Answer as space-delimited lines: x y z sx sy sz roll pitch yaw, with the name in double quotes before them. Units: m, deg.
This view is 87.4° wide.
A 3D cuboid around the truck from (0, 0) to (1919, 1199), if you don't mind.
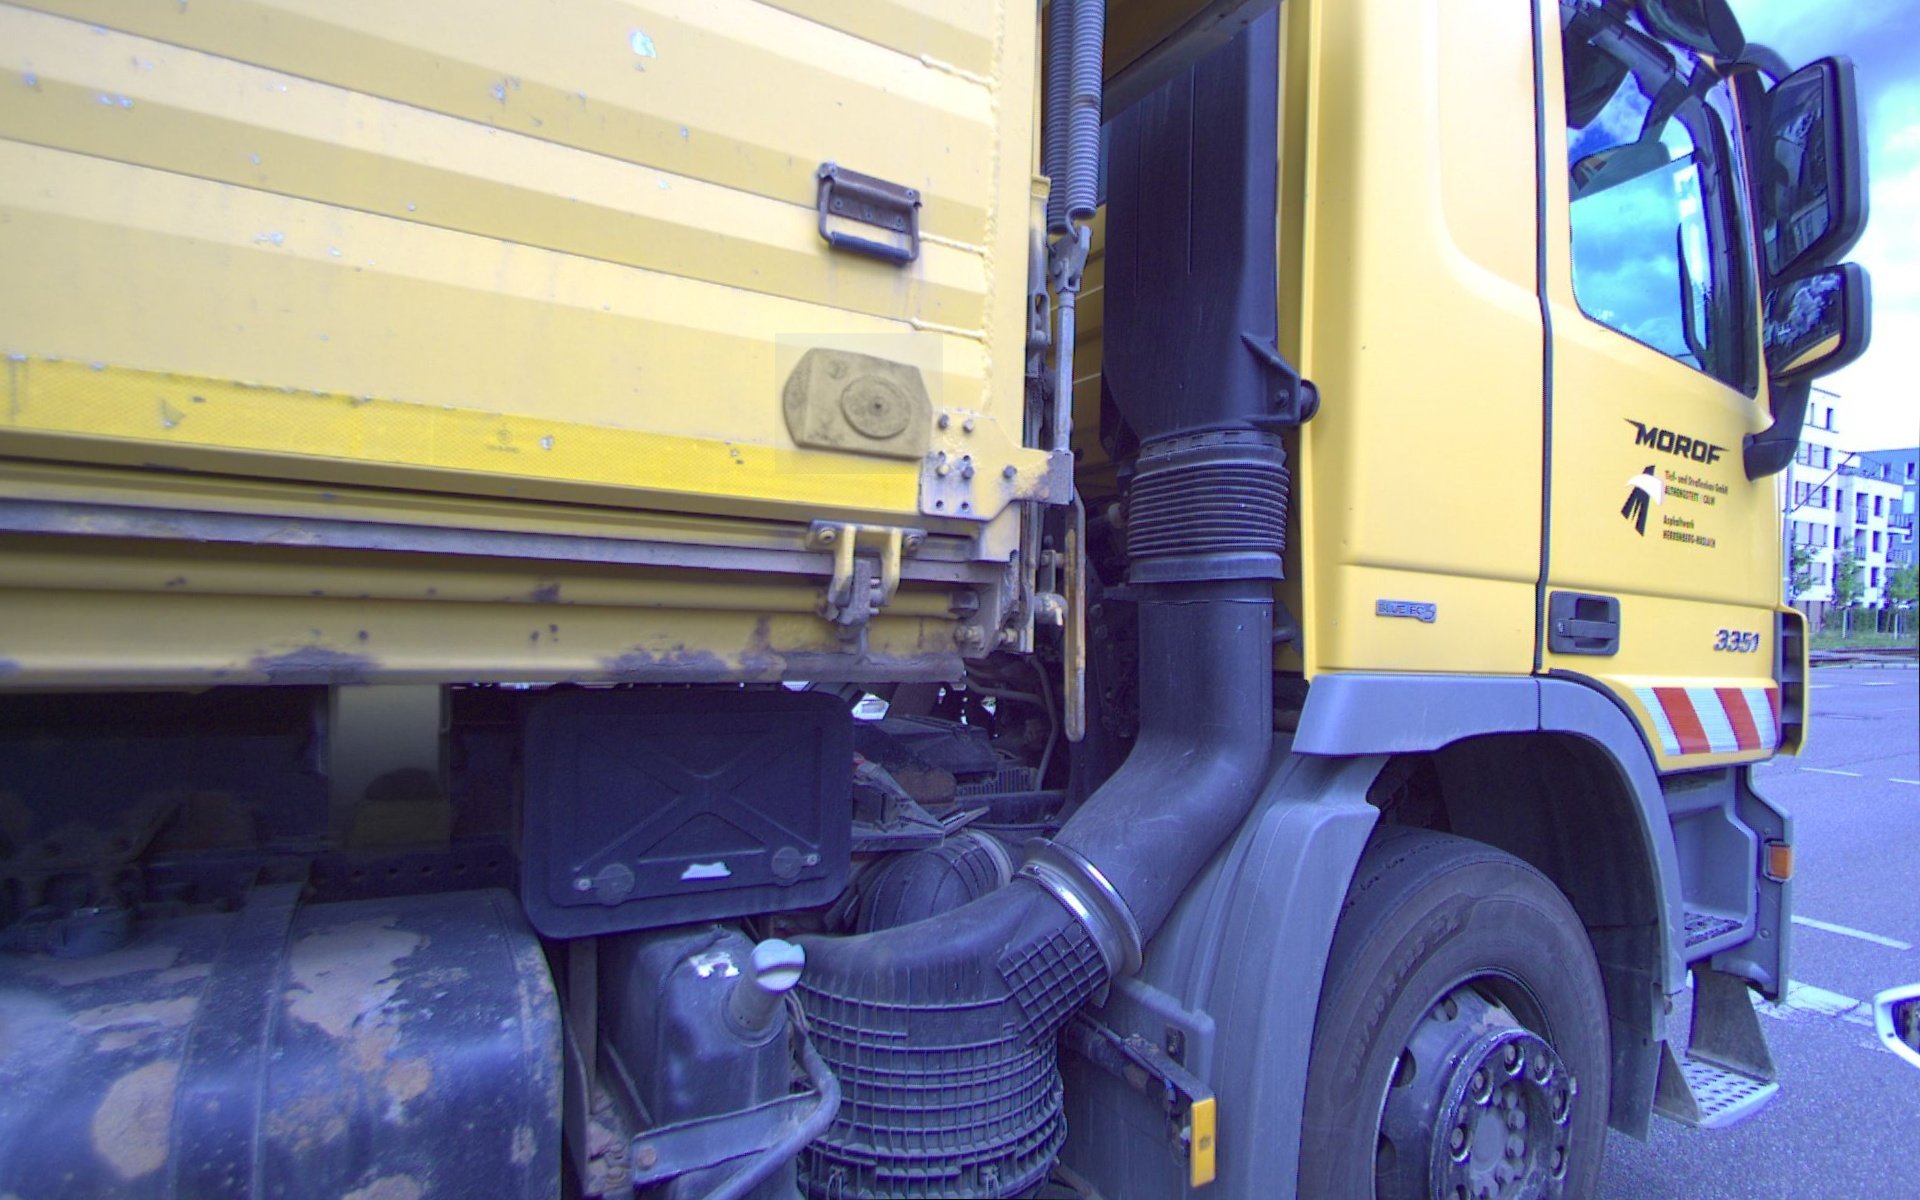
"truck" -1.539 -0.032 1.587 7.688 3.043 2.707 2 0 -30
